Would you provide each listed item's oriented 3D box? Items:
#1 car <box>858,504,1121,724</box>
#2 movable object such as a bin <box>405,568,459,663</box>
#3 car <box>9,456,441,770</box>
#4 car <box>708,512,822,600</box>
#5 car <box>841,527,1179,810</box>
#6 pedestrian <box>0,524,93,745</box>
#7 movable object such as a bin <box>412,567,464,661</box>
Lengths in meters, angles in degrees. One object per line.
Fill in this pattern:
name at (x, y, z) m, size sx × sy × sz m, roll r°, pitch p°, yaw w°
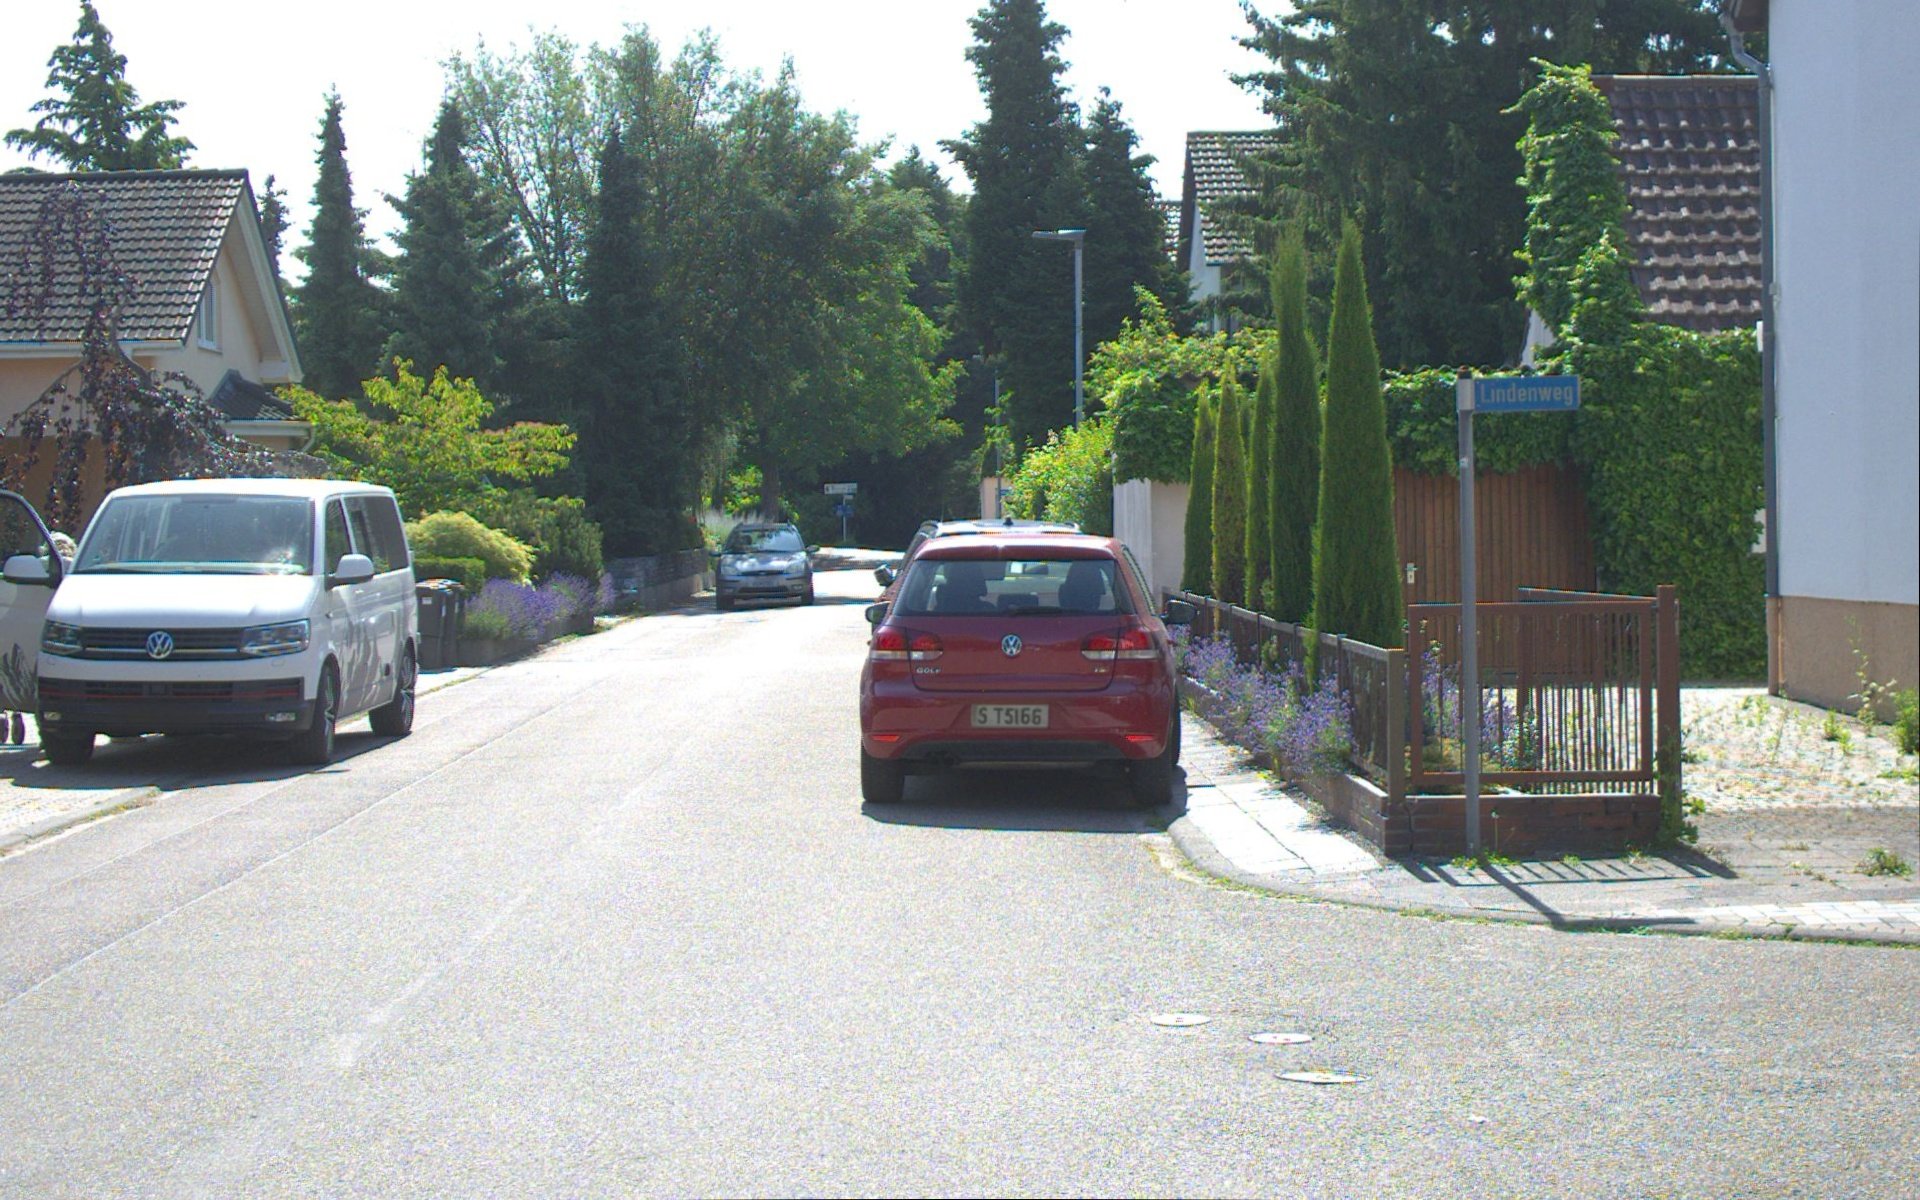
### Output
car at (0.159, 0.059, 27.101) m, size 1.822 × 1.610 × 4.001 m, roll 0°, pitch 1°, yaw -3°
movable object such as a bin at (-5.801, 0.169, 37.785) m, size 0.494 × 1.021 × 0.447 m, roll -1°, pitch 1°, yaw 0°
car at (-5.111, 0.030, 24.619) m, size 1.929 × 2.007 × 4.896 m, roll -1°, pitch 1°, yaw 1°
car at (-3.460, -0.813, 61.768) m, size 1.752 × 1.482 × 4.376 m, roll -1°, pitch 1°, yaw 0°
car at (0.362, 0.323, 20.285) m, size 1.775 × 1.474 × 4.000 m, roll 1°, pitch 1°, yaw 3°
pedestrian at (-6.671, 0.232, 24.451) m, size 0.718 × 1.533 × 0.641 m, roll 1°, pitch 2°, yaw 33°
movable object such as a bin at (-5.805, 0.157, 38.248) m, size 0.494 × 1.021 × 0.447 m, roll -1°, pitch 1°, yaw 0°
